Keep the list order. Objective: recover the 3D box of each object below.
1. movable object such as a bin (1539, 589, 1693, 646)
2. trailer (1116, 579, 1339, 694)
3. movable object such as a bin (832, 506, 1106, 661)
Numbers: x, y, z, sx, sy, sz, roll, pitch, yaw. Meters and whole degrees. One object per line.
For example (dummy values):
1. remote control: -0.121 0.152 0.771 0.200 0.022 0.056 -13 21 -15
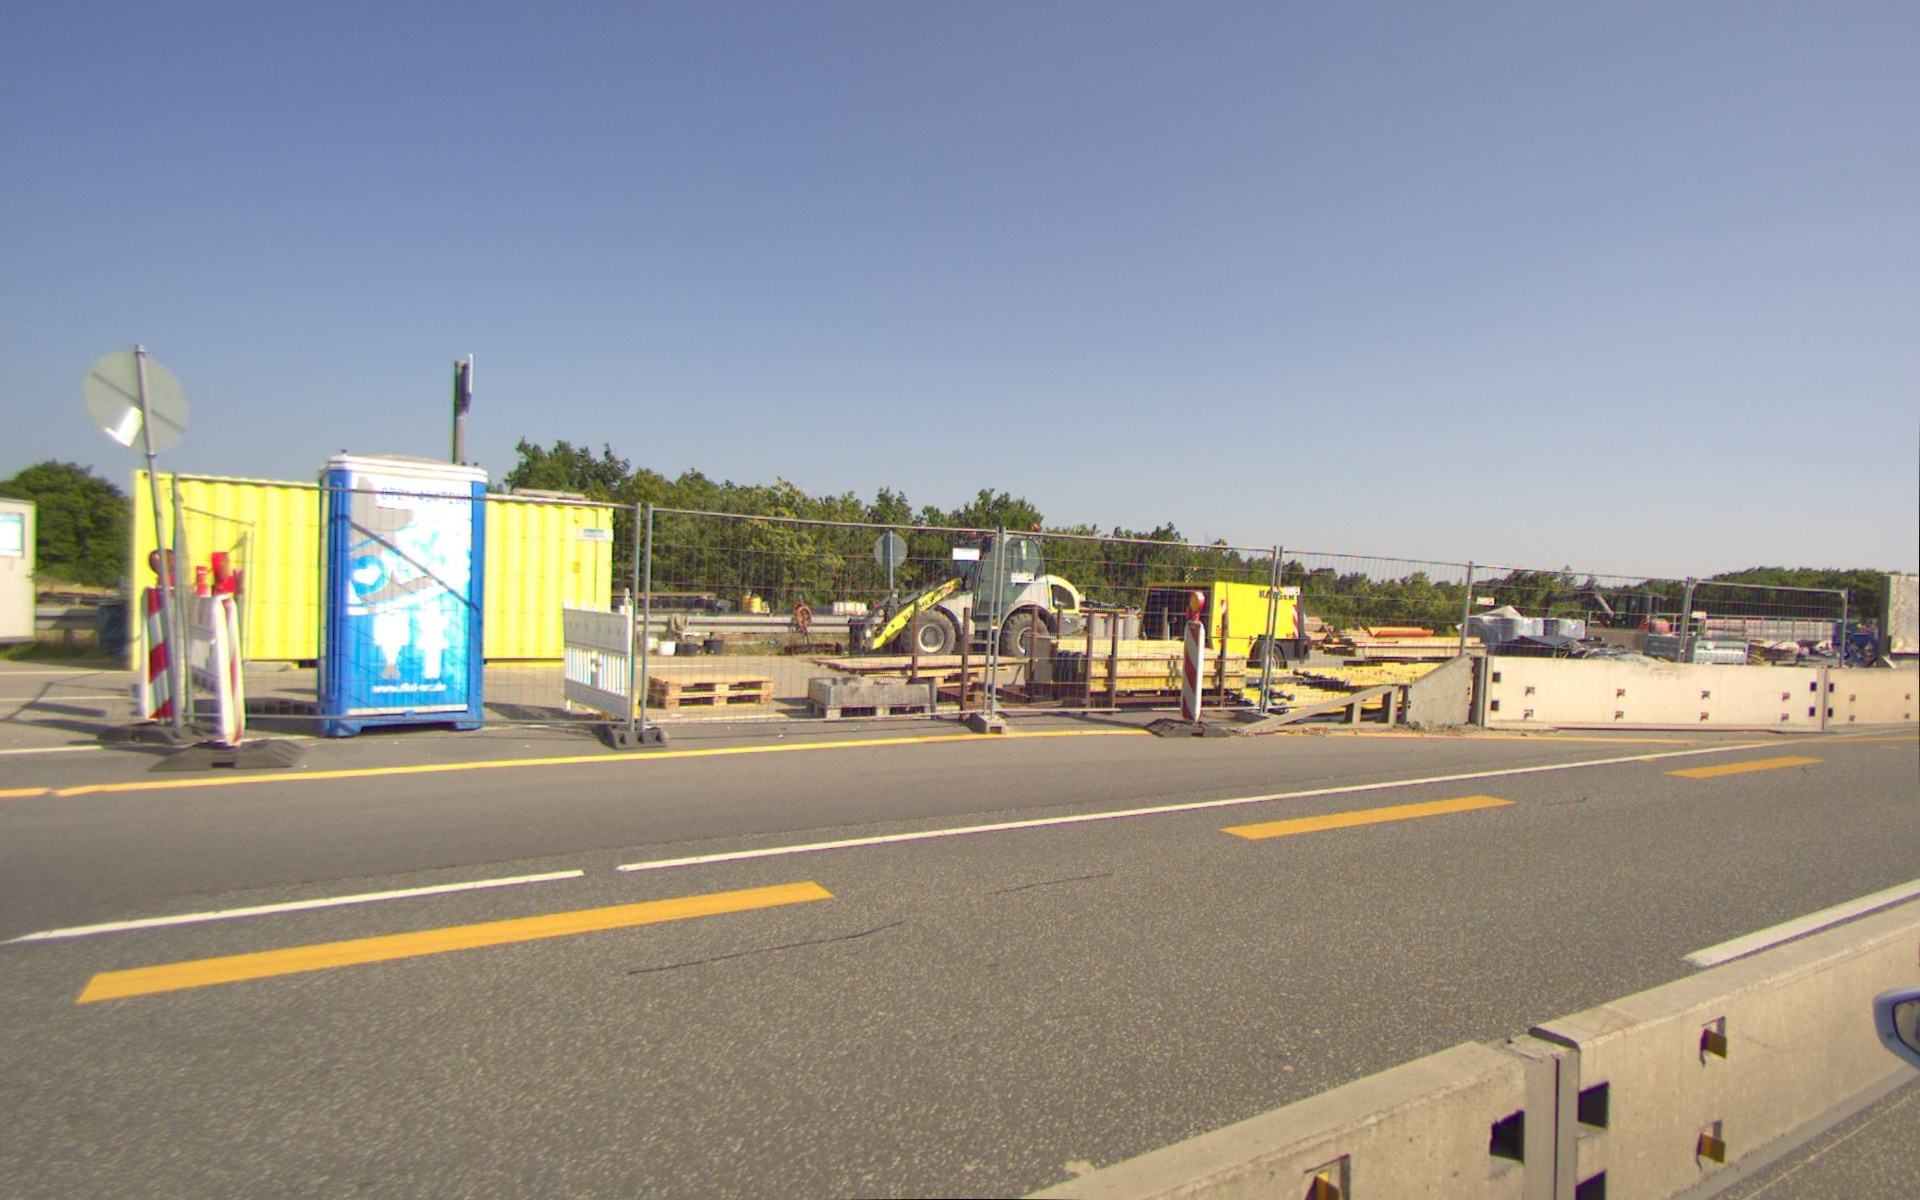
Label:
1. movable object such as a bin: 26.964 0.674 41.566 2.198 2.145 5.399 1 0 -11
2. trailer: 4.447 0.561 16.569 3.501 1.671 1.707 1 2 -37
3. movable object such as a bin: 0.204 -0.257 19.892 5.038 2.752 2.025 1 0 -25
